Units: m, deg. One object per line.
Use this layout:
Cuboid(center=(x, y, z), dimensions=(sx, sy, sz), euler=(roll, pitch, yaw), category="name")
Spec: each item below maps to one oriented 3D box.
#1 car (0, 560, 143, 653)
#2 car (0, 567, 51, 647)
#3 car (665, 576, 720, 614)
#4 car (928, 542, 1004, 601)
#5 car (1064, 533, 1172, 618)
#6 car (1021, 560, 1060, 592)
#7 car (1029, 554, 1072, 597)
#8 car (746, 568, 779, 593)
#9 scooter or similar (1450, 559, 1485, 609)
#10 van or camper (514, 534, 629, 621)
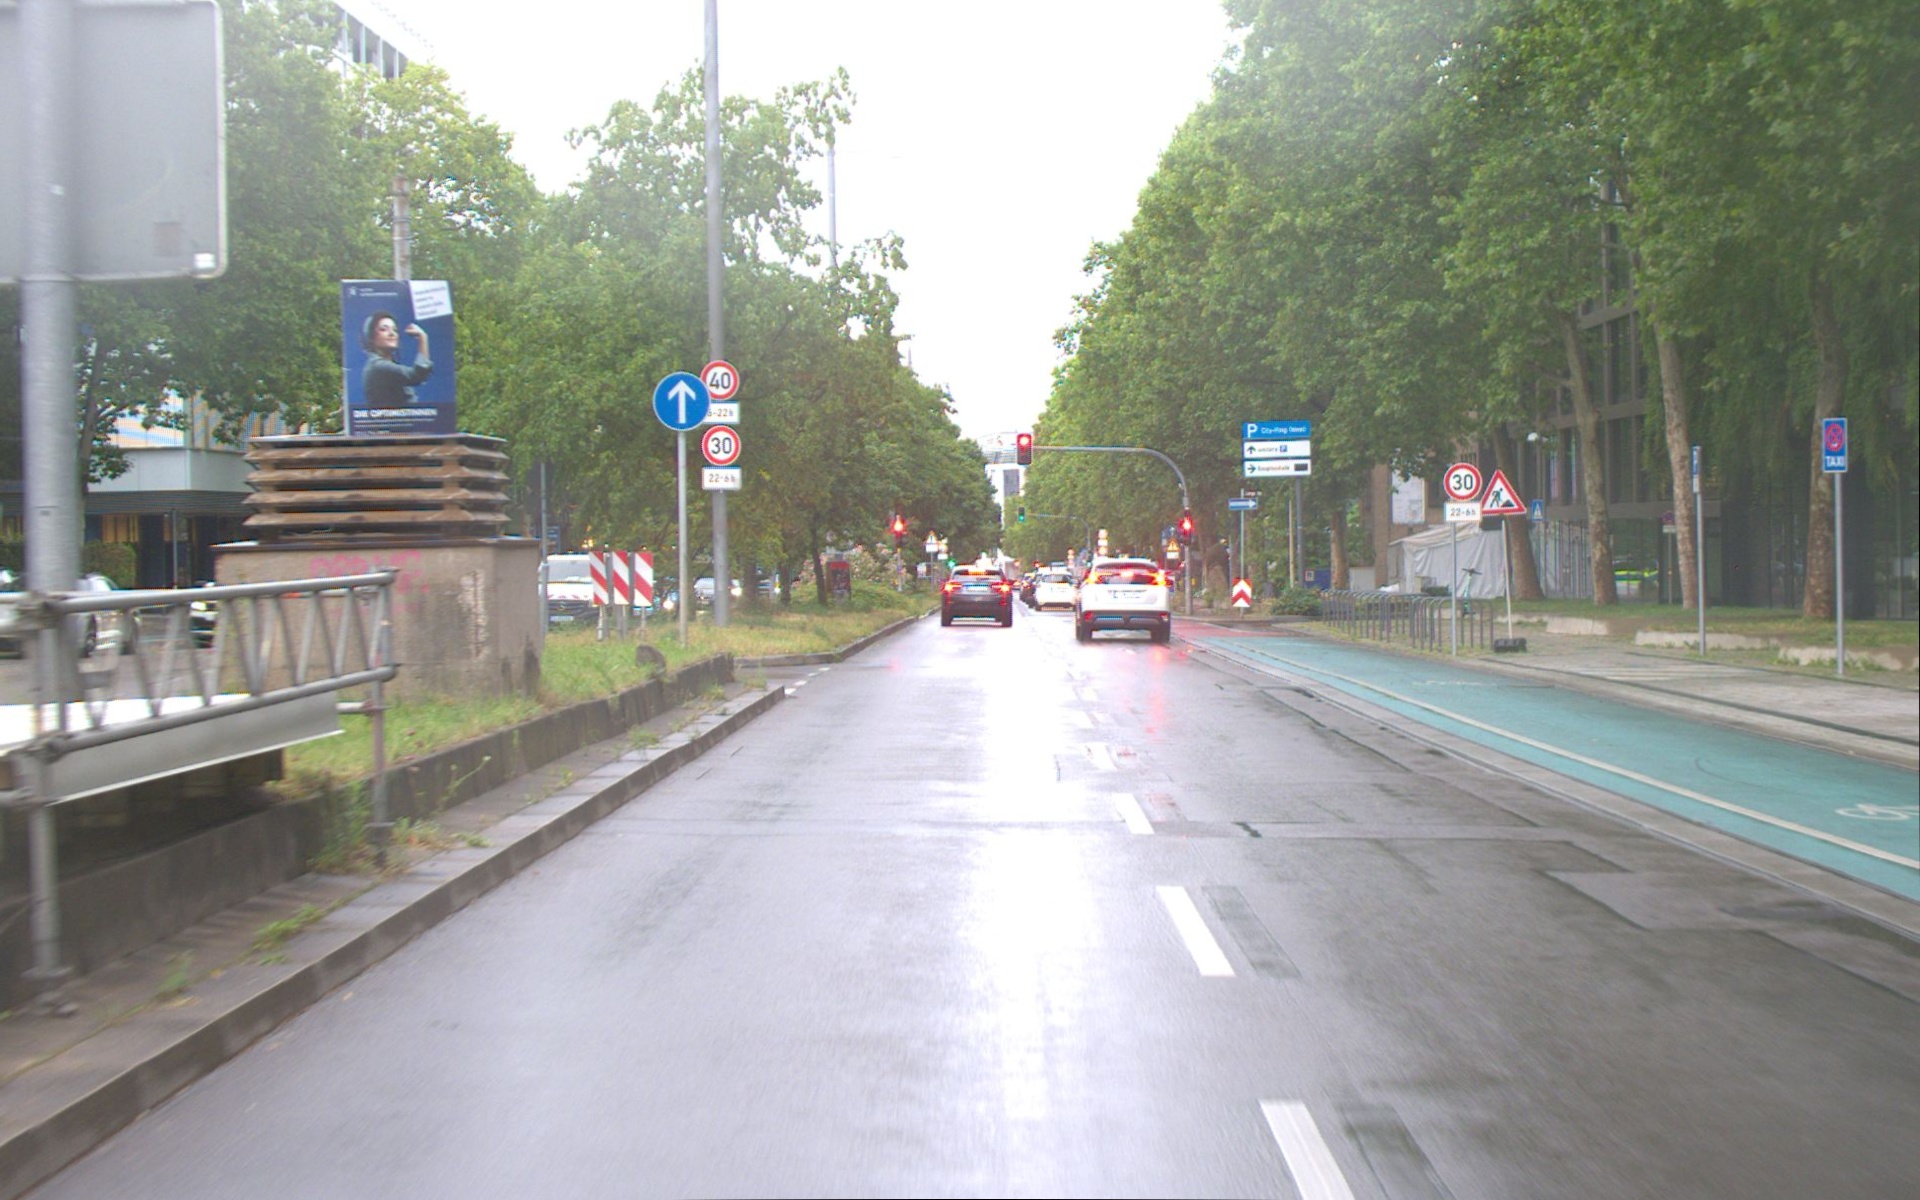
Cuboid(center=(-14.894, 0.075, 56.493), dimensions=(1.966, 1.404, 4.957), euler=(0, 1, -3), category="car")
Cuboid(center=(-18.853, 0.123, 66.339), dimensions=(1.693, 1.463, 3.460), euler=(0, 1, 0), category="car")
Cuboid(center=(-10.266, -0.201, 132.138), dimensions=(1.843, 1.424, 3.643), euler=(0, 0, 0), category="car")
Cuboid(center=(0.169, -0.756, 89.182), dimensions=(1.918, 1.486, 4.000), euler=(-1, 1, 0), category="car")
Cuboid(center=(3.172, -0.522, 69.764), dimensions=(1.993, 1.649, 4.889), euler=(0, 1, 0), category="car")
Cuboid(center=(3.450, -1.042, 148.096), dimensions=(1.620, 1.369, 4.000), euler=(-1, 1, 0), category="car")
Cuboid(center=(3.569, -0.987, 136.176), dimensions=(1.620, 1.660, 4.000), euler=(-1, 1, 0), category="car")
Cuboid(center=(-11.264, -1.120, 196.179), dimensions=(1.614, 1.389, 3.598), euler=(0, 1, 0), category="car")
Cuboid(center=(12.396, -0.397, 83.968), dimensions=(0.381, 1.224, 1.077), euler=(0, 1, 37), category="scooter or similar")
Cuboid(center=(-8.821, -0.546, 78.452), dimensions=(1.993, 1.907, 5.251), euler=(0, 1, 0), category="van or camper")
